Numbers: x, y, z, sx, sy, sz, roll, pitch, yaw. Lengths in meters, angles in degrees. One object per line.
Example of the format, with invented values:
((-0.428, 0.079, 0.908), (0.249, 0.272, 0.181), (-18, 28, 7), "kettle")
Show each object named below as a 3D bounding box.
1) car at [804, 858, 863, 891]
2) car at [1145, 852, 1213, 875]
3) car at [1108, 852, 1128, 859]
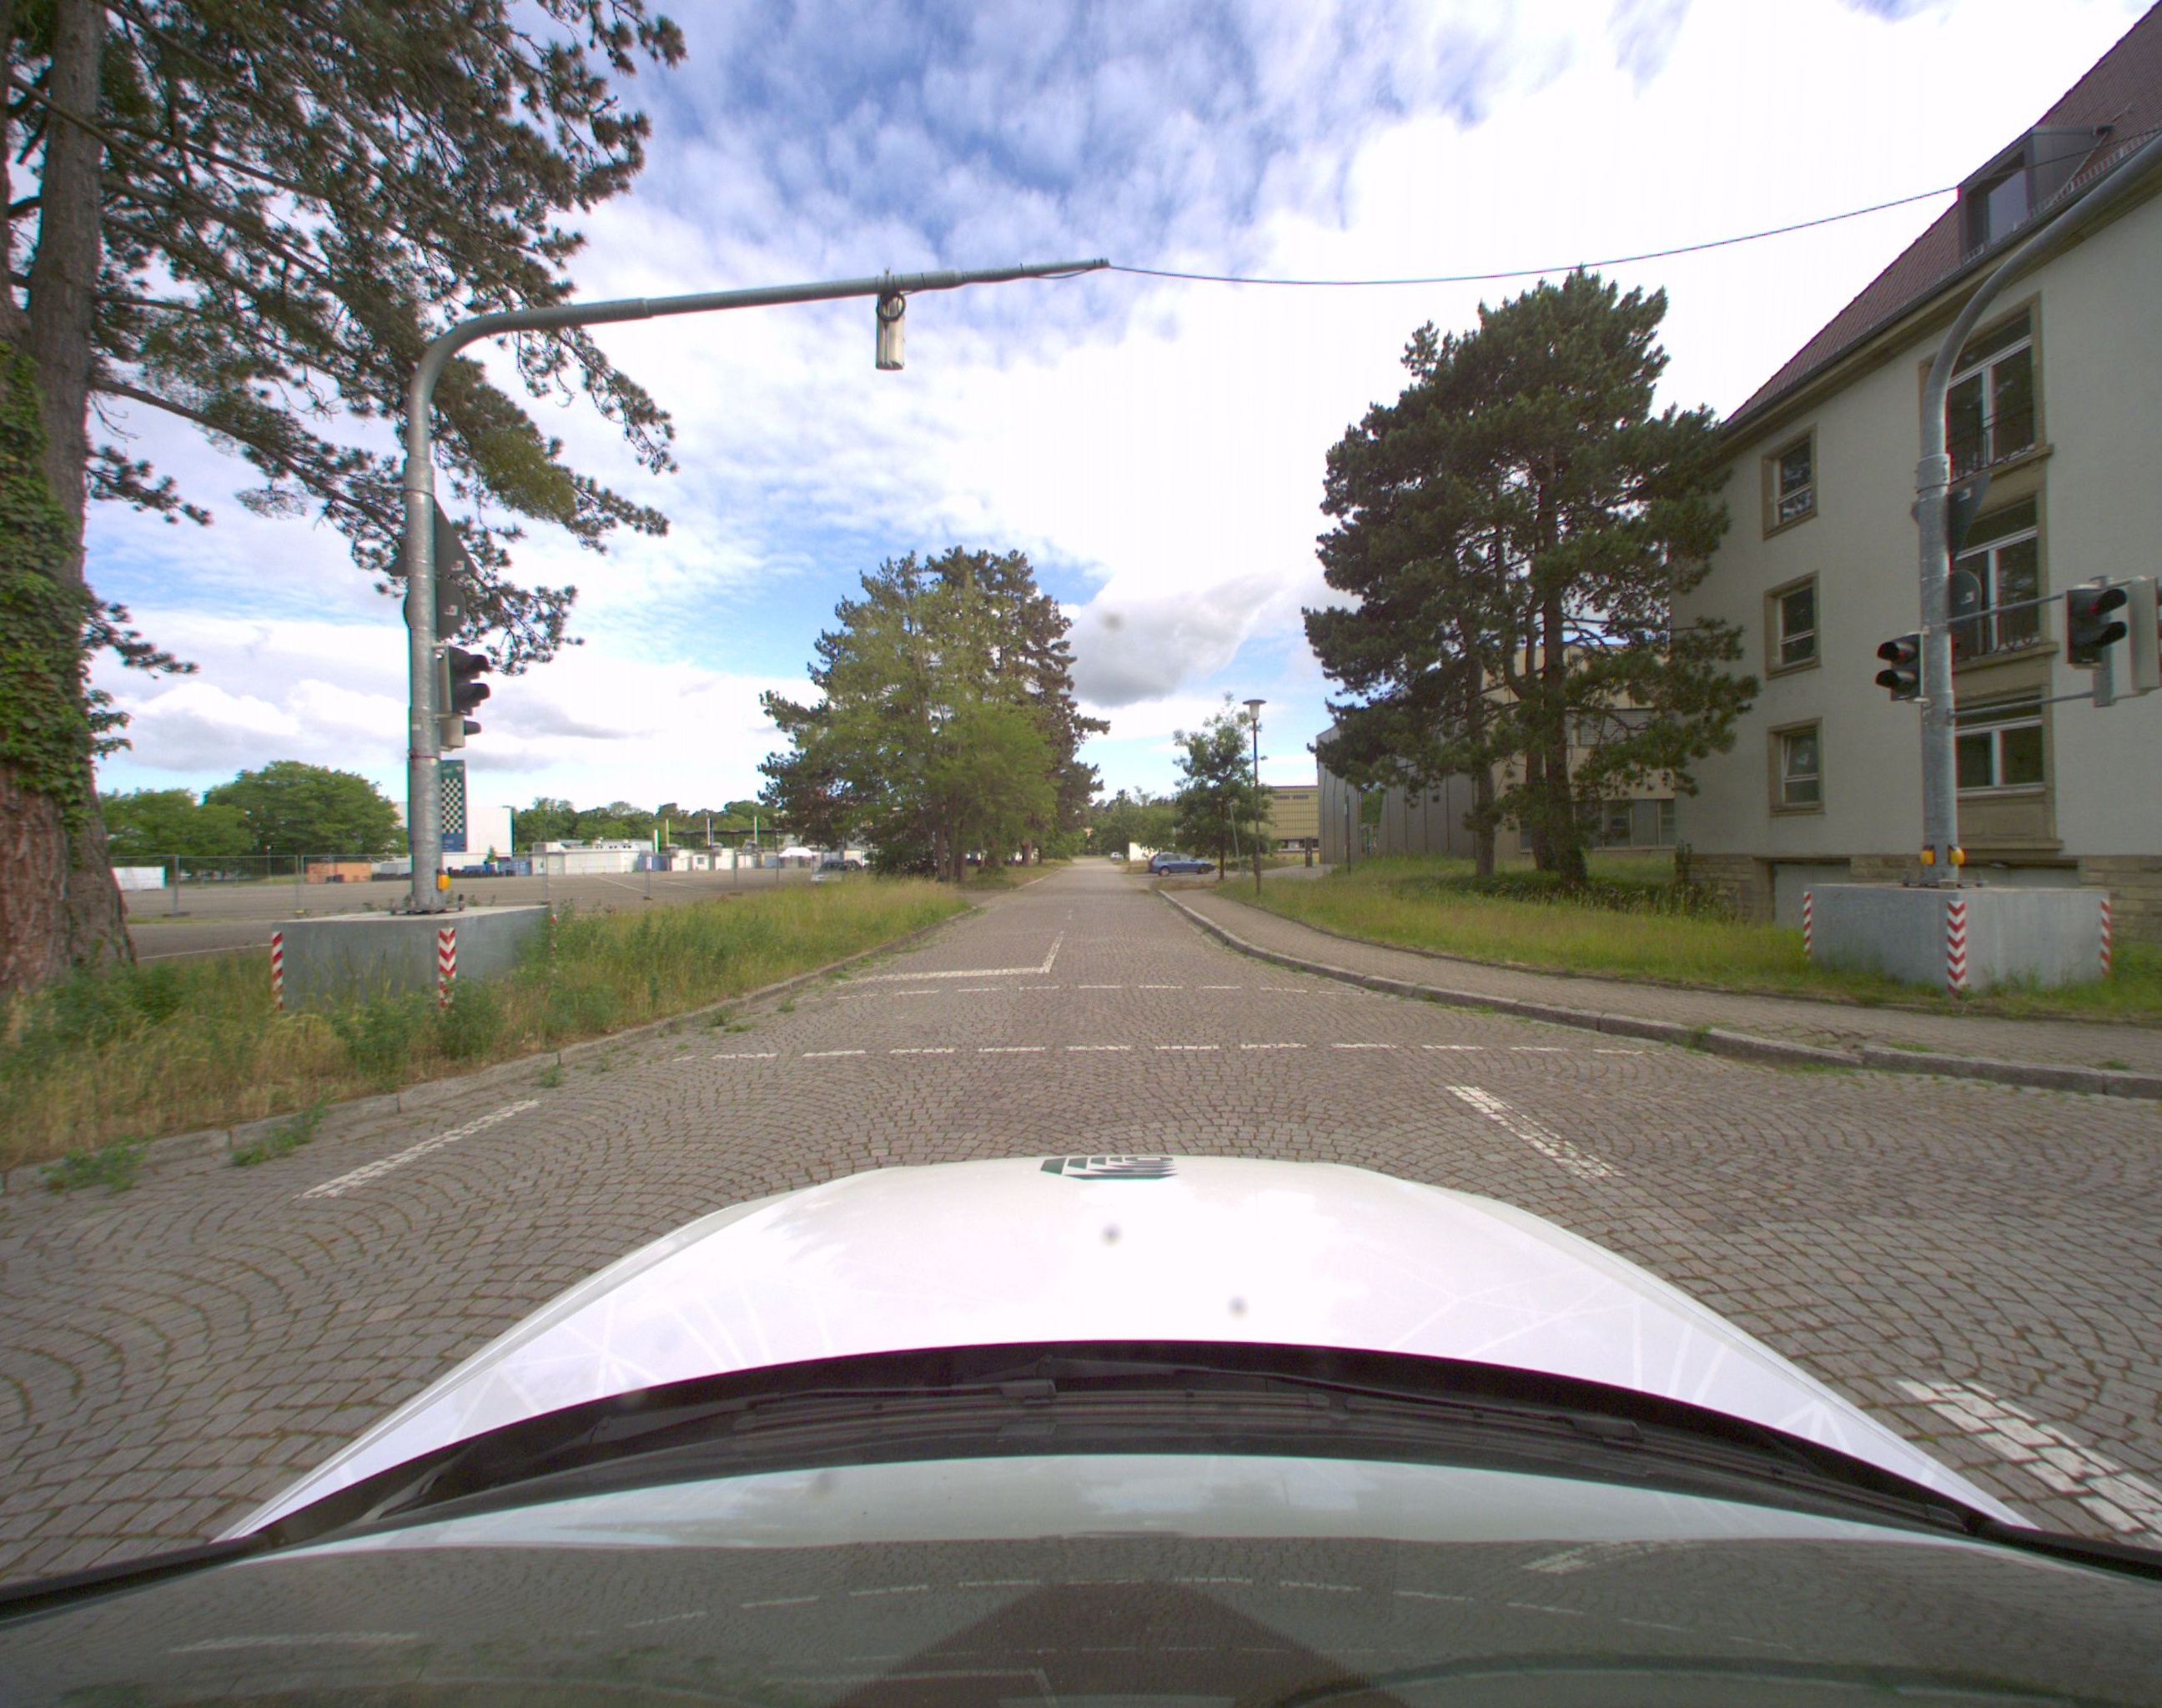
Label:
((-12.204, 0.959, 40.349), (1.607, 1.487, 4.001), (-1, 0, 1), "car")
((6.573, 0.624, 55.117), (4.332, 1.422, 1.999), (-1, 0, -2), "car")
((7.894, 0.365, 172.203), (3.980, 1.398, 1.997), (-1, 0, -5), "car")
